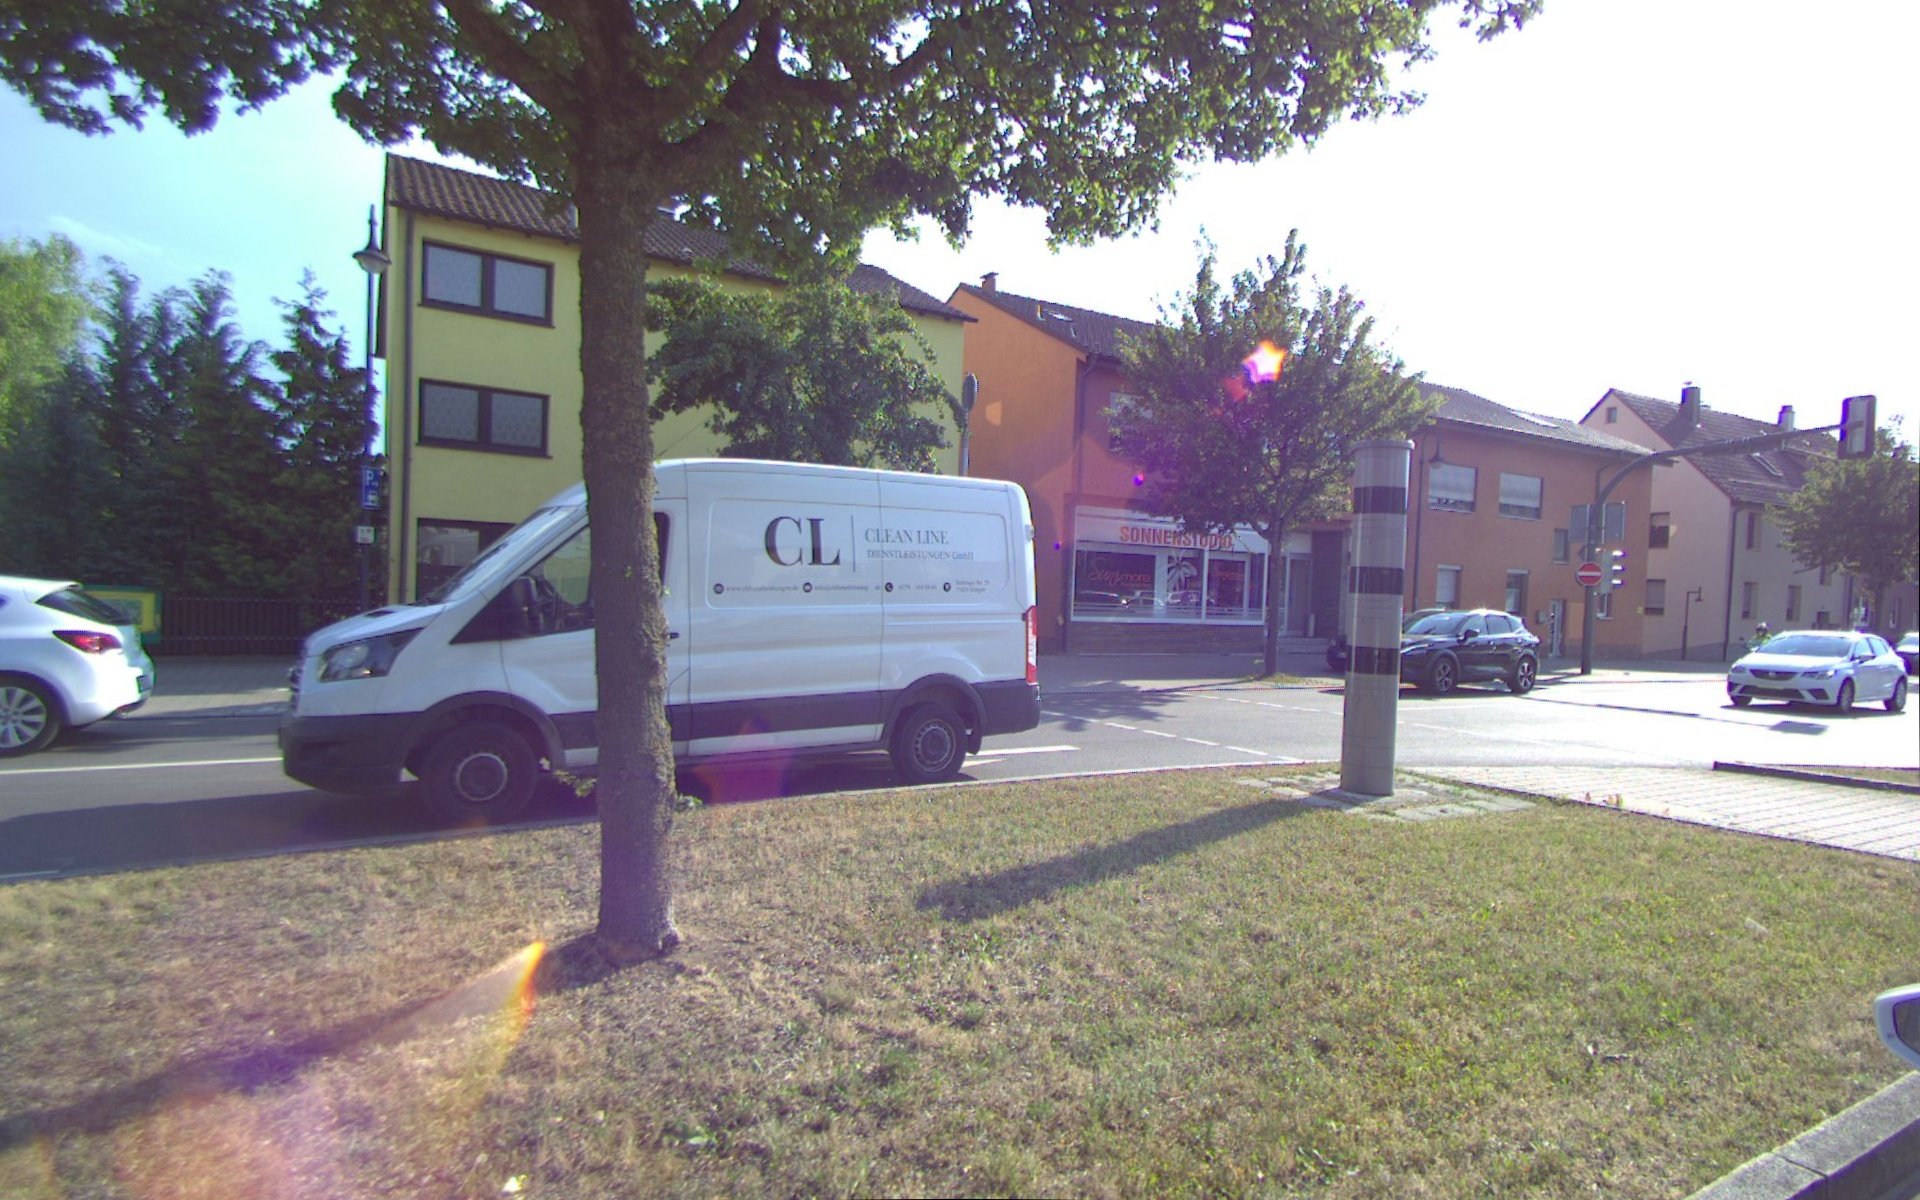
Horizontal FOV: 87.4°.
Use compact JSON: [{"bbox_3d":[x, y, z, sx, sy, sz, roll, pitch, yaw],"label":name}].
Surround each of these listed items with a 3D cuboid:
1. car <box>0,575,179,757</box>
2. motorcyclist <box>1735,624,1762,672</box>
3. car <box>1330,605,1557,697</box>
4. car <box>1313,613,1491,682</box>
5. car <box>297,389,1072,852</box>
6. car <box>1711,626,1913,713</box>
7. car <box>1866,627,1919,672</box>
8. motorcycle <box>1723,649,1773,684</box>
[{"bbox_3d":[-9.061,0.484,8.060,4.163,1.433,1.684,1,0,-29],"label":"car"},{"bbox_3d":[20.824,1.257,26.539,0.456,1.245,0.401,1,1,-30],"label":"motorcyclist"},{"bbox_3d":[9.699,0.977,20.090,4.405,1.617,1.847,1,0,-28],"label":"car"},{"bbox_3d":[10.273,1.077,23.334,3.893,1.433,1.787,1,1,-29],"label":"car"},{"bbox_3d":[-1.892,0.148,7.835,5.422,2.509,2.071,1,0,-34],"label":"car"},{"bbox_3d":[16.205,1.255,19.073,3.954,1.430,1.748,1,0,-31],"label":"car"},{"bbox_3d":[35.690,1.833,37.637,3.841,1.531,1.504,1,2,-31],"label":"car"},{"bbox_3d":[20.833,1.748,26.552,1.742,0.872,0.410,1,1,-30],"label":"motorcycle"}]
